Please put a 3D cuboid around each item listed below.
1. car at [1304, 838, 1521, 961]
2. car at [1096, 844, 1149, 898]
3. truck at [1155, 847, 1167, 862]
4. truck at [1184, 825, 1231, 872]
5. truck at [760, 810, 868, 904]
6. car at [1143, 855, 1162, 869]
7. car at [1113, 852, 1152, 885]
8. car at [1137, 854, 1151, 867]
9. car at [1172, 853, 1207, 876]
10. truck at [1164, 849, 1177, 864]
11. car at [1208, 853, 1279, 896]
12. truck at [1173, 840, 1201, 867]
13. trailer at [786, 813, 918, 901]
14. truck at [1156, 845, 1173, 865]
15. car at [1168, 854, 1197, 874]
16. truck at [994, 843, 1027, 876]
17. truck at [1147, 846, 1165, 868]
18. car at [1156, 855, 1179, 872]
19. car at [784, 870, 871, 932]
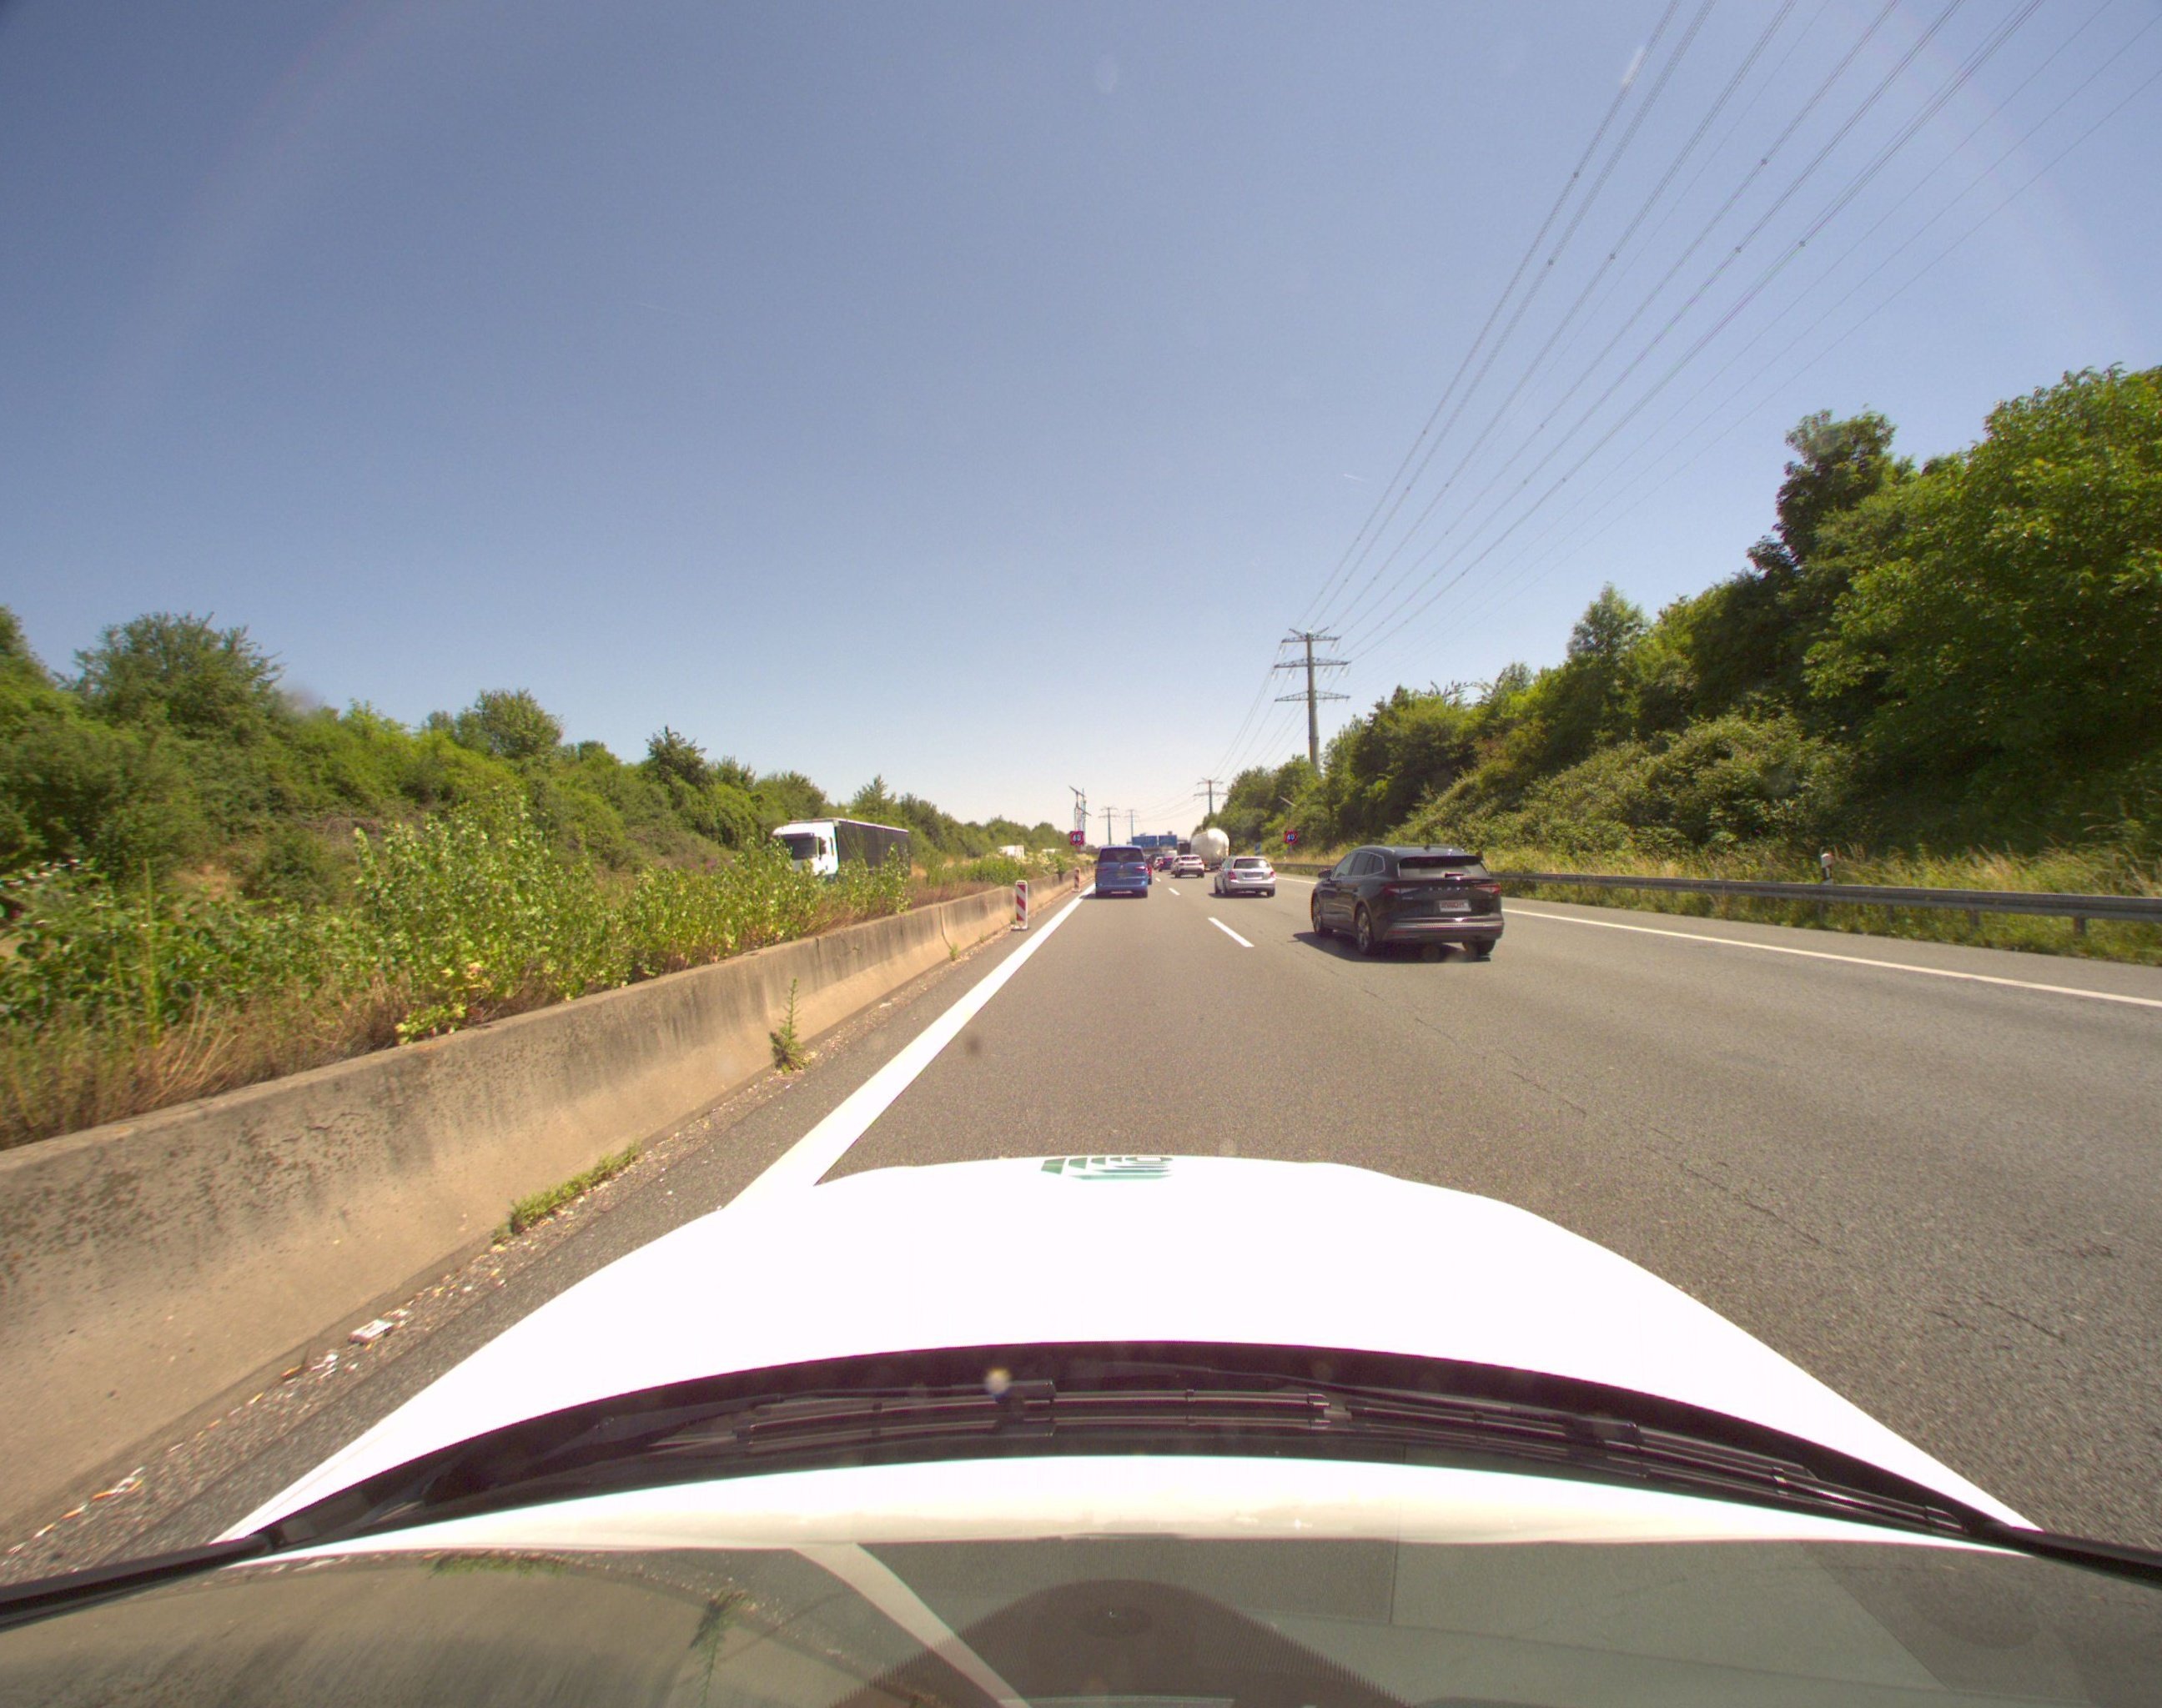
[{"bbox_3d":[5.007,0.600,13.038,1.821,1.614,4.433,-1,0,2],"label":"car"},{"bbox_3d":[1.497,0.601,30.623,1.864,1.879,4.384,0,0,1],"label":"car"},{"bbox_3d":[23.341,0.162,238.338,2.926,4.291,12.558,0,0,2],"label":"truck"},{"bbox_3d":[12.079,-0.418,79.241,2.634,4.072,16.449,0,0,2],"label":"truck"},{"bbox_3d":[-13.225,0.146,40.927,2.740,4.166,6.415,-5,-1,3],"label":"truck"},{"bbox_3d":[8.038,0.894,91.791,1.901,1.516,4.385,0,0,1],"label":"car"},{"bbox_3d":[2.698,0.746,43.494,1.901,1.631,4.386,-1,0,2],"label":"car"},{"bbox_3d":[9.872,1.001,127.264,1.986,2.014,4.002,0,0,2],"label":"car"},{"bbox_3d":[7.305,0.711,55.222,1.901,1.508,3.922,0,0,1],"label":"car"},{"bbox_3d":[16.353,0.434,148.825,1.986,2.723,5.683,0,0,2],"label":"truck"},{"bbox_3d":[5.792,0.710,29.559,1.814,1.437,4.385,0,0,1],"label":"car"},{"bbox_3d":[14.564,-0.025,112.762,2.634,3.539,12.558,0,0,2],"label":"truck"},{"bbox_3d":[-12.896,0.180,47.804,2.742,4.166,14.207,-5,0,3],"label":"trailer"},{"bbox_3d":[18.399,0.202,179.559,2.926,4.291,12.558,0,0,2],"label":"truck"},{"bbox_3d":[8.274,0.804,66.689,1.901,1.569,4.385,0,0,1],"label":"car"},{"bbox_3d":[-9.132,0.674,106.660,2.751,3.888,9.035,-5,0,3],"label":"truck"},{"bbox_3d":[9.612,0.417,104.190,1.986,2.723,5.683,0,0,2],"label":"truck"},{"bbox_3d":[8.361,0.915,78.856,1.901,1.516,4.385,0,0,1],"label":"car"},{"bbox_3d":[-9.390,1.686,30.507,1.894,2.013,3.682,-2,0,3],"label":"car"}]
